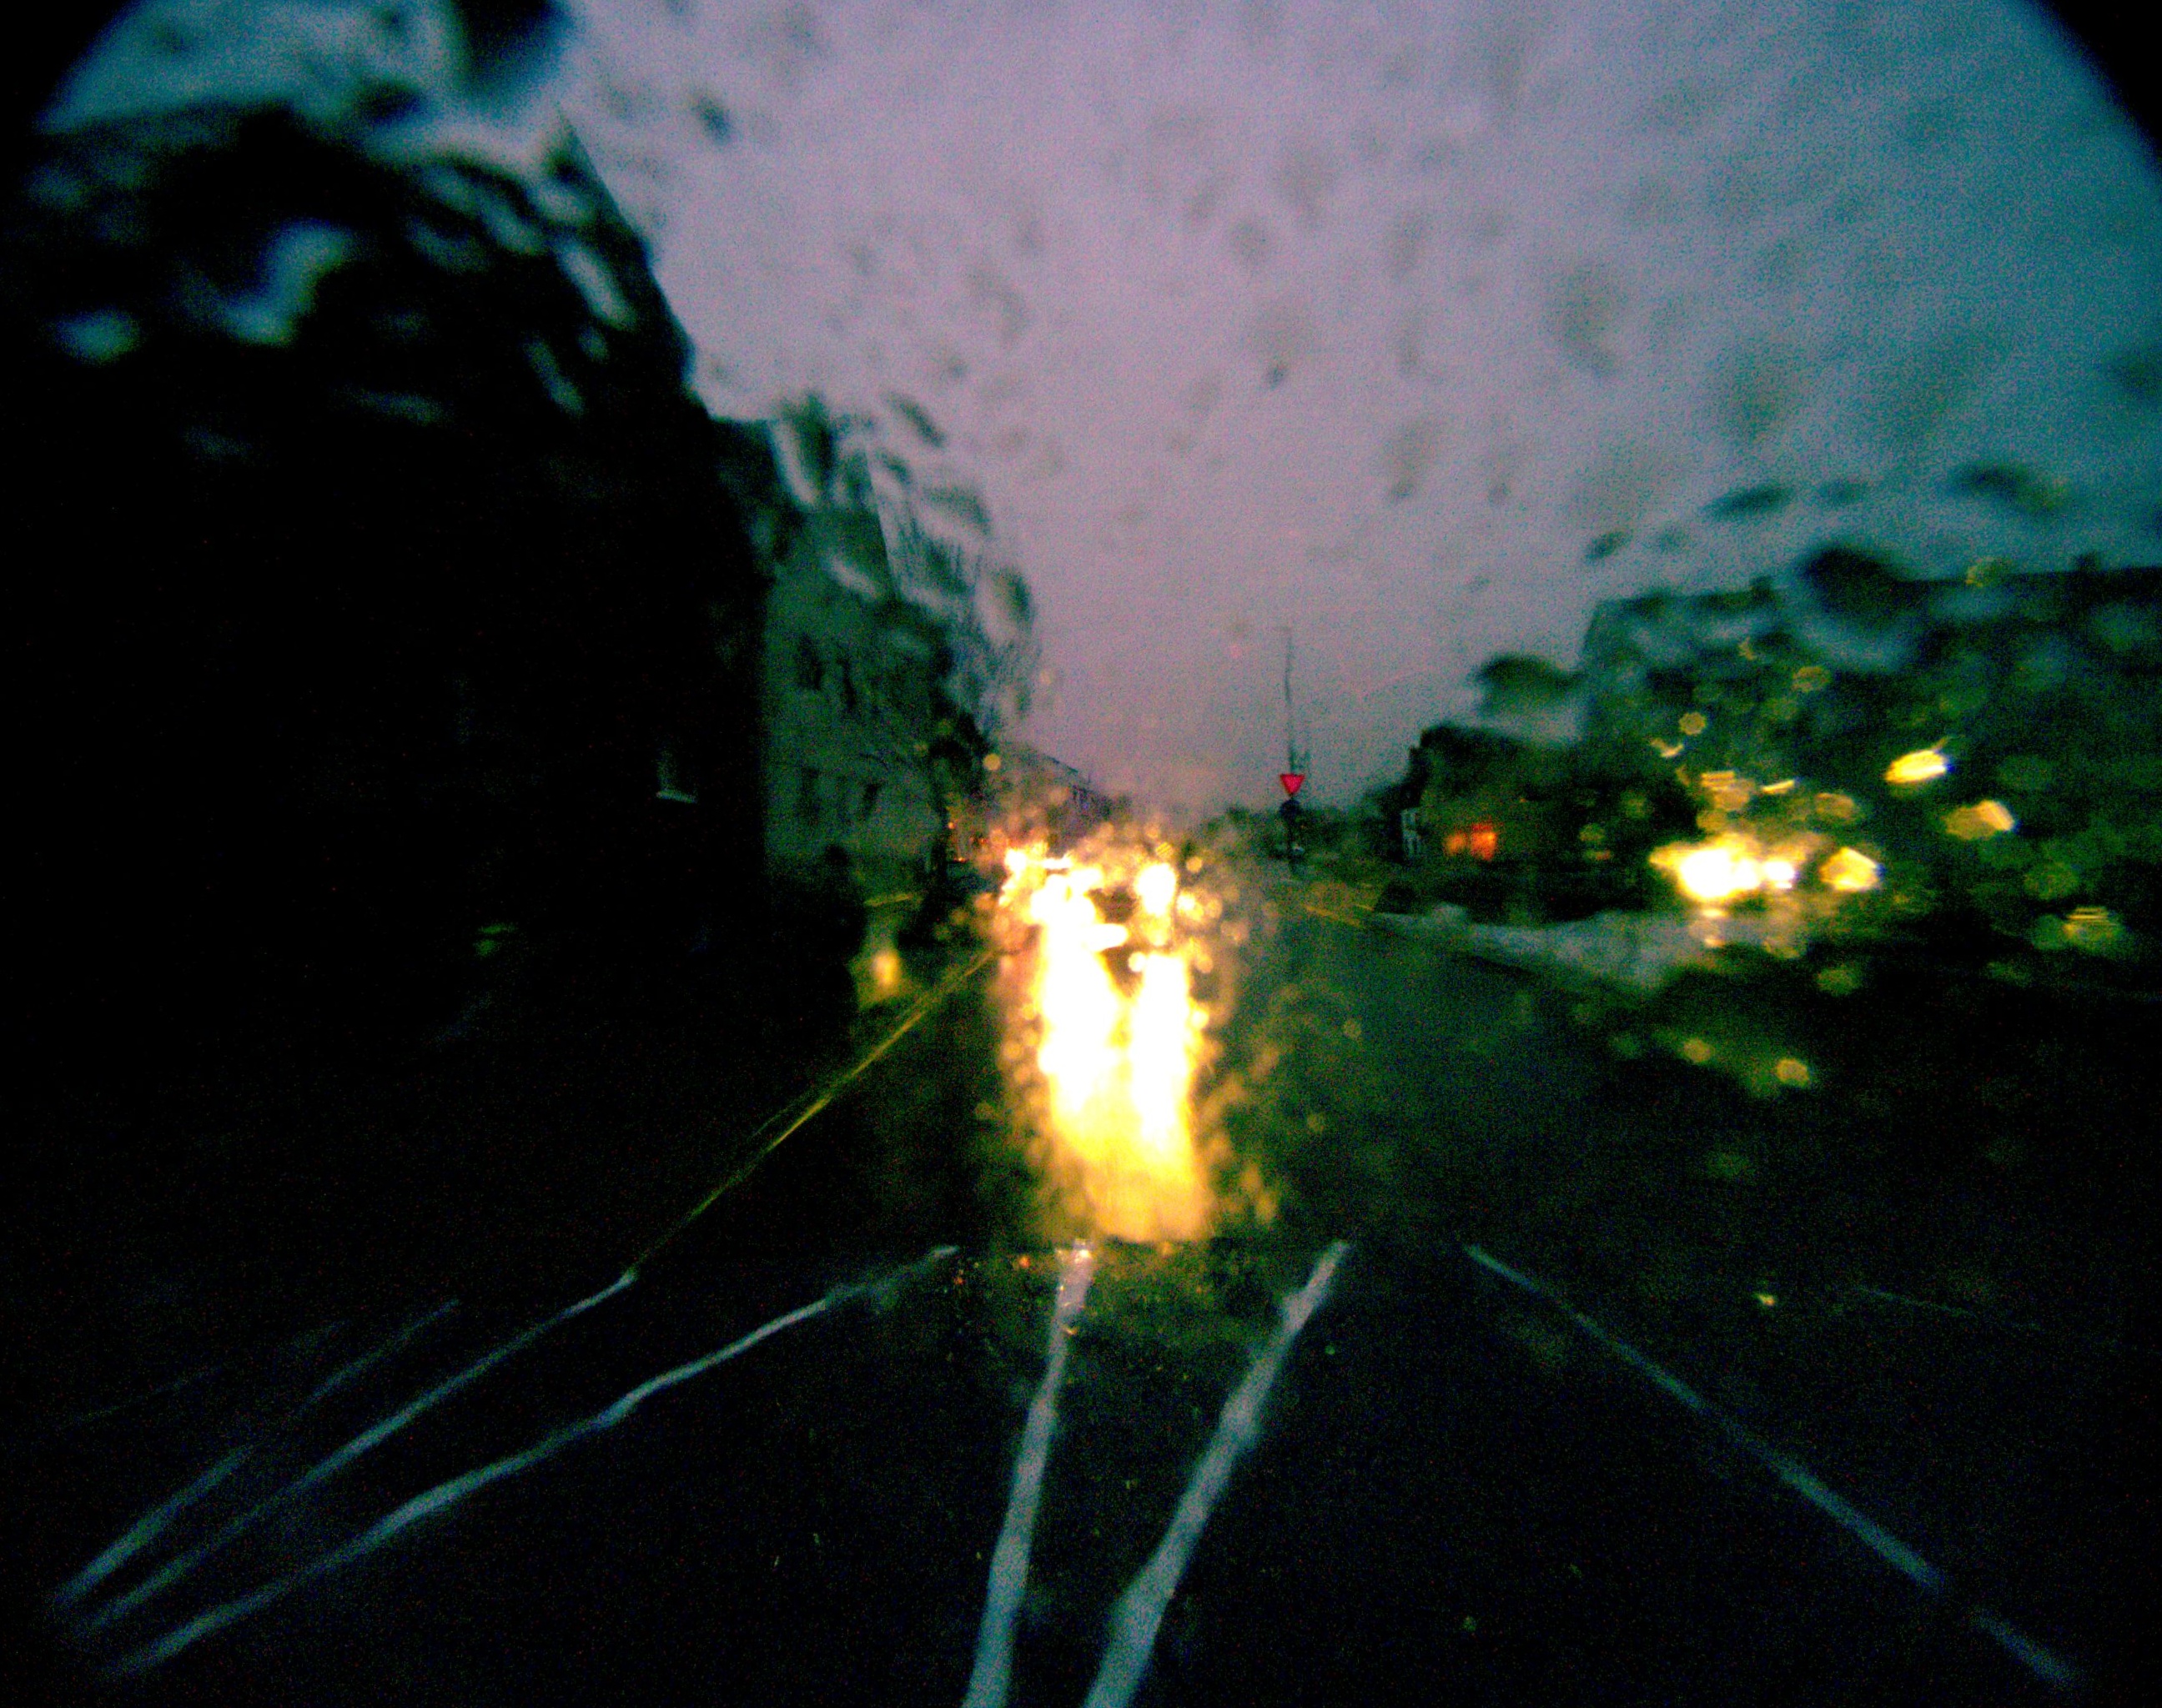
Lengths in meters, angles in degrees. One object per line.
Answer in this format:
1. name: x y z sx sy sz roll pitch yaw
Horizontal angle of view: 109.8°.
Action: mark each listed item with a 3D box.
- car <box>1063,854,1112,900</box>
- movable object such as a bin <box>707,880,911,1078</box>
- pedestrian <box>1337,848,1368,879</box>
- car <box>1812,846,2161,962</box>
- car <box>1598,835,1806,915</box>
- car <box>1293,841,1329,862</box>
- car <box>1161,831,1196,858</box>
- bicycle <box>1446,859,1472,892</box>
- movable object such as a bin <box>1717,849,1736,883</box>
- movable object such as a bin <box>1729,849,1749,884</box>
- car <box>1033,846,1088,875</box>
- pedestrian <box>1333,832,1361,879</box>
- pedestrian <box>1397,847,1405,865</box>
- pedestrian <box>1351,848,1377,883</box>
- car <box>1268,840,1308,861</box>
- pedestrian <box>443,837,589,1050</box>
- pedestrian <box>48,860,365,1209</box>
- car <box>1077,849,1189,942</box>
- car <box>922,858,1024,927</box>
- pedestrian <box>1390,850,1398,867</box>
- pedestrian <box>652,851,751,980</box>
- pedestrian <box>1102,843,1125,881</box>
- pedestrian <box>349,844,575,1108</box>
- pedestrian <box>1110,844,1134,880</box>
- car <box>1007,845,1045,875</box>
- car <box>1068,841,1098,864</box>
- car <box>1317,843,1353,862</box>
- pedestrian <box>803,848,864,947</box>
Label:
1. car: 0.314 0.832 29.913 1.762 1.471 4.019 -2 2 2
2. movable object such as a bin: -2.224 0.970 6.476 1.131 1.412 1.417 2 0 3
3. pedestrian: 10.723 0.384 30.006 0.990 1.151 0.903 -2 -1 10
4. car: 14.547 0.644 11.977 1.806 1.474 4.573 0 0 3
5. car: 15.013 0.439 18.773 1.758 1.691 4.567 1 0 7
6. car: 24.656 -0.327 81.650 1.926 2.003 3.966 -3 3 -13
7. car: 8.114 -0.794 62.930 2.055 1.976 4.541 -1 3 18
8. bicycle: 12.353 0.697 24.860 0.470 1.004 1.741 0 1 17
9. movable object such as a bin: 21.959 0.403 25.854 0.288 1.114 0.453 -2 3 6
10. movable object such as a bin: 21.870 0.417 25.263 0.288 1.136 0.453 -2 3 6
11. car: -1.314 0.327 45.983 2.030 1.471 4.549 -3 3 -18
12. pedestrian: 10.080 0.068 28.790 0.749 1.732 0.687 -2 1 1
13. pedestrian: 30.767 0.192 73.048 0.582 1.602 0.500 -2 3 5
14. pedestrian: 10.427 0.413 27.995 0.687 1.264 0.750 -2 1 5
15. car: 22.031 -0.409 81.085 1.974 1.984 3.990 -4 3 -26
16. pedestrian: -5.063 0.760 6.853 0.530 1.790 0.865 -2 1 11
17. pedestrian: -4.561 0.846 4.056 0.480 1.621 1.019 0 0 3
18. car: 0.949 0.748 15.958 1.958 1.576 4.108 -2 1 -1
19. car: -2.594 0.877 19.154 1.732 1.456 4.199 2 0 3
20. pedestrian: 29.962 0.398 72.661 0.582 1.602 0.500 -2 3 5
21. pedestrian: -5.183 0.804 10.438 0.748 1.669 1.052 1 0 7
22. pedestrian: 1.603 0.384 37.456 0.789 1.856 0.711 1 4 44
23. pedestrian: -4.399 0.788 5.481 0.713 1.705 1.035 0 0 14
24. pedestrian: 2.063 0.385 38.137 0.789 1.752 0.769 1 4 44
25. car: -3.772 0.369 51.332 1.827 1.736 3.993 -3 3 -14
26. car: 0.151 -0.113 57.408 2.172 1.469 3.998 -2 3 1
27. car: 27.333 -0.182 81.940 1.936 1.871 3.866 -3 3 -13
28. pedestrian: -4.336 0.742 13.386 0.530 1.644 0.954 -2 3 11
